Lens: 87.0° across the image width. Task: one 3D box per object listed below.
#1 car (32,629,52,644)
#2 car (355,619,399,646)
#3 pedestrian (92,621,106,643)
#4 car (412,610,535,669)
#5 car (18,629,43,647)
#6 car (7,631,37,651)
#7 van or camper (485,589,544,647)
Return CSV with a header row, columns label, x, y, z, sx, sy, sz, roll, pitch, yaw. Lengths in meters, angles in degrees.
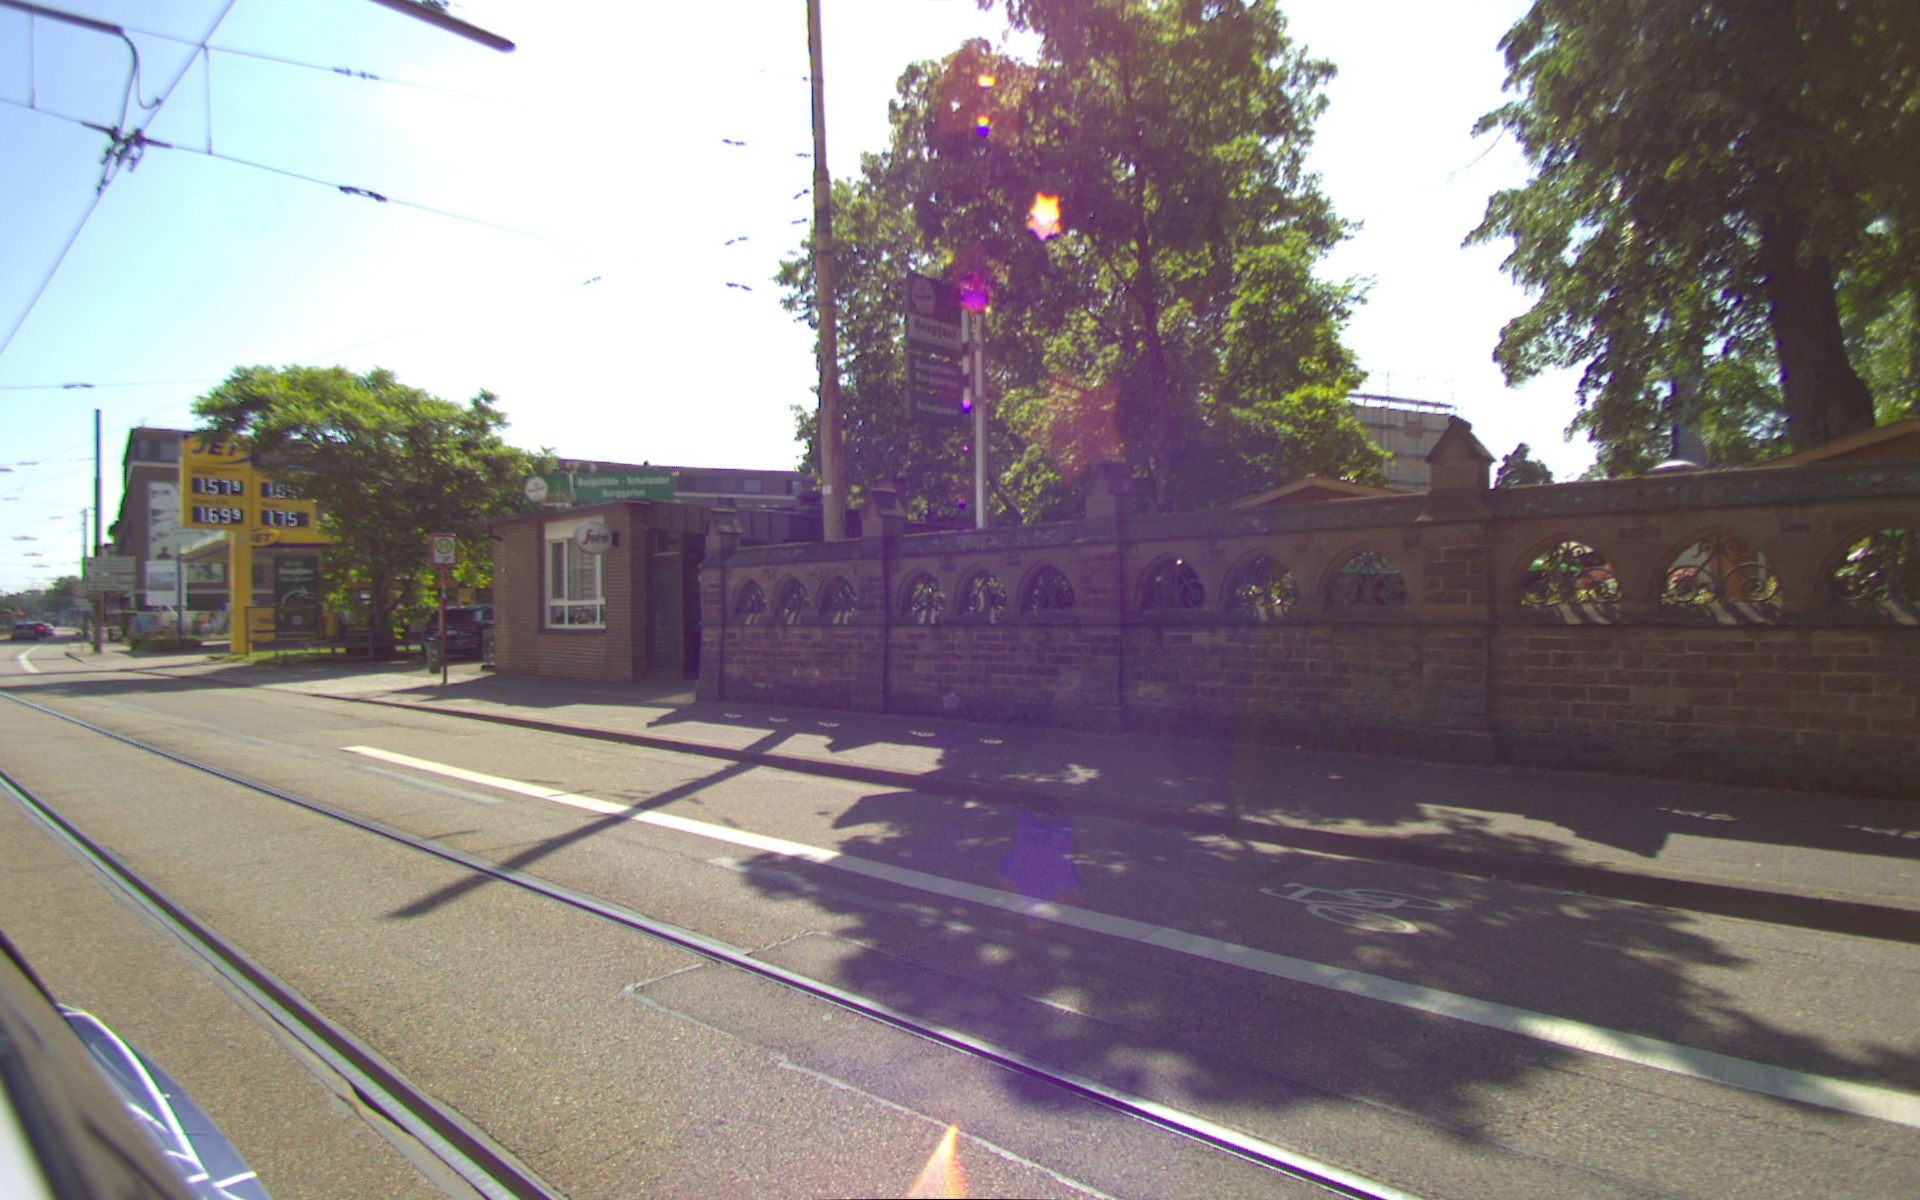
label,x,y,z,sx,sy,sz,roll,pitch,yaw
car,-107.569,4.303,118.615,1.691,1.634,3.584,-2,0,-41
car,-33.144,1.823,57.608,1.673,1.313,4.405,-3,0,-24
pedestrian,-72.990,2.689,85.795,0.834,1.833,0.840,0,-1,-41
car,-14.984,1.167,31.454,1.920,1.637,4.583,-1,-1,-5
car,-98.591,4.001,107.338,1.779,1.742,4.194,-2,0,-41
car,-79.132,3.449,85.332,1.726,1.583,3.894,1,-2,-45
van or camper,-25.694,0.977,58.209,2.572,2.989,6.735,-4,2,-27
